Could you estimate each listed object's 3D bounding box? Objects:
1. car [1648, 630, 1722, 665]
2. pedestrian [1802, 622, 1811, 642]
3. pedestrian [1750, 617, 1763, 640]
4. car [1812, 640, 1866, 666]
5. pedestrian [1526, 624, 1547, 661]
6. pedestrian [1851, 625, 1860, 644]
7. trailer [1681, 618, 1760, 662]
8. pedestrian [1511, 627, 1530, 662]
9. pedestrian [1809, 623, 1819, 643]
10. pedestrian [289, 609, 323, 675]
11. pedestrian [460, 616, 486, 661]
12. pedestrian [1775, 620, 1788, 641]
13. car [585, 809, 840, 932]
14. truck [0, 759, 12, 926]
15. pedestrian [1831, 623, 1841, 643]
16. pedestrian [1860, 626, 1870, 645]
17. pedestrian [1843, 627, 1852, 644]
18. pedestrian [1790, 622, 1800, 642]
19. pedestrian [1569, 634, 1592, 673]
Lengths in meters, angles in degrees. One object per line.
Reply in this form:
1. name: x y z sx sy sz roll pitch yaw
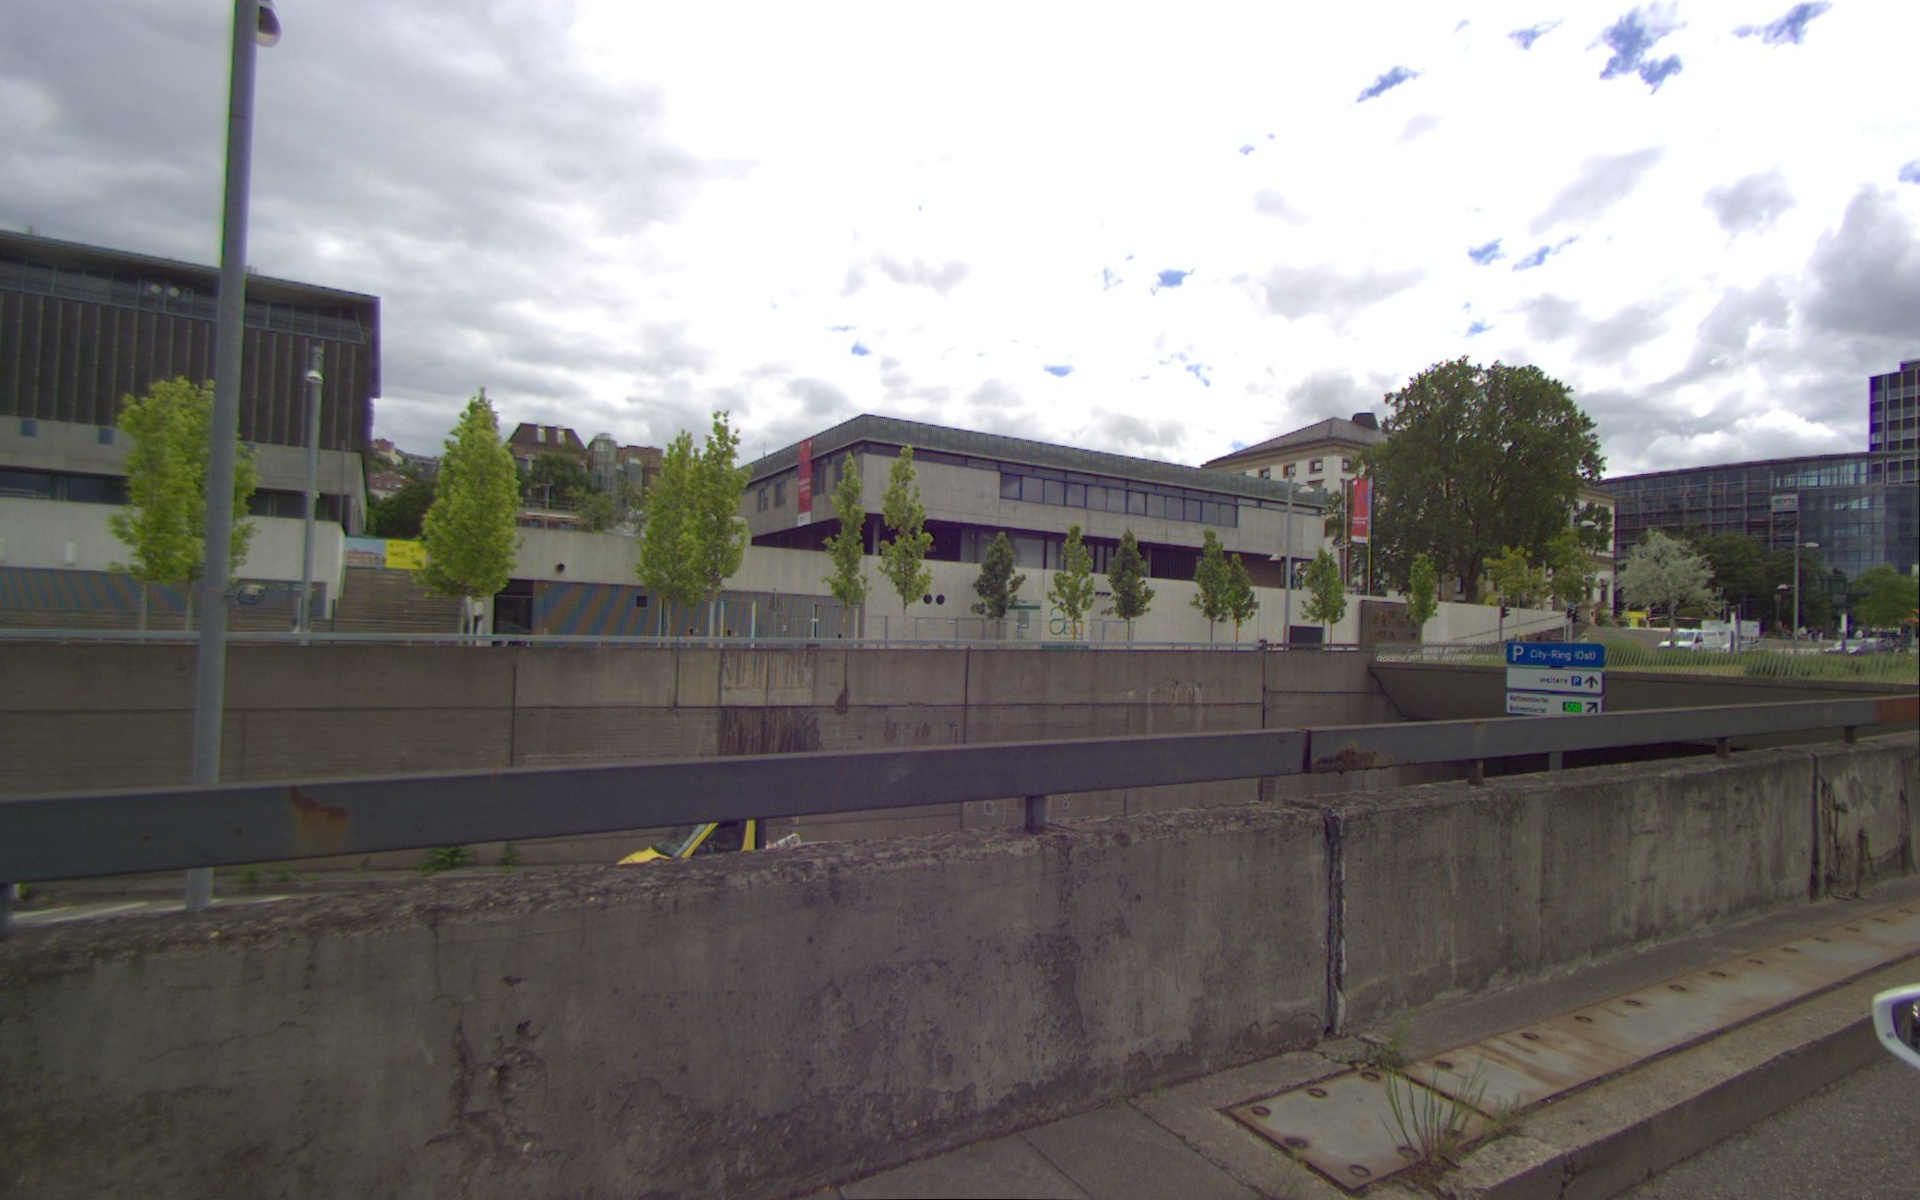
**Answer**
1. car: 44.645 2.884 61.829 4.635 2.040 1.985 0 0 -30
2. pedestrian: 86.279 3.282 102.378 0.730 2.040 0.916 -1 -1 41
3. pedestrian: 72.002 2.580 90.781 0.785 2.040 0.734 4 -3 -33
4. car: 58.646 3.543 66.996 3.556 1.514 1.723 3 0 -32
5. pedestrian: 31.948 2.359 55.636 0.825 2.040 0.788 -1 -1 45
6. pedestrian: 99.505 3.810 111.643 0.731 2.040 0.788 -1 -1 45
7. trailer: 48.910 2.538 64.571 5.443 2.640 2.027 1 1 -30
8. pedestrian: 32.928 2.602 58.978 0.623 2.041 0.724 -4 2 -37
9. pedestrian: 87.813 3.376 103.234 0.729 2.040 1.078 -1 -1 39
10. pedestrian: -20.632 1.301 31.693 0.782 2.040 0.736 0 -1 -25
11. pedestrian: -18.094 1.414 37.323 0.780 1.664 0.738 0 -1 -19
12. pedestrian: 81.075 2.972 99.168 0.783 2.040 0.735 0 -1 -29
13. car: -4.839 5.185 19.749 4.345 1.789 2.153 6 -5 -30
14. truck: -16.296 3.596 13.081 5.314 2.432 2.173 1 -1 -29
15. pedestrian: 90.075 3.375 103.298 0.731 2.040 0.788 -1 -1 45
16. pedestrian: 99.965 3.948 110.935 0.731 2.040 0.788 -1 -1 45
17. pedestrian: 106.155 4.266 120.135 0.729 2.040 0.790 -1 -1 38
18. pedestrian: 85.616 3.249 103.030 0.730 2.040 0.916 -1 -1 41
19. pedestrian: 32.434 2.794 52.507 0.845 2.040 0.629 0 -1 17
